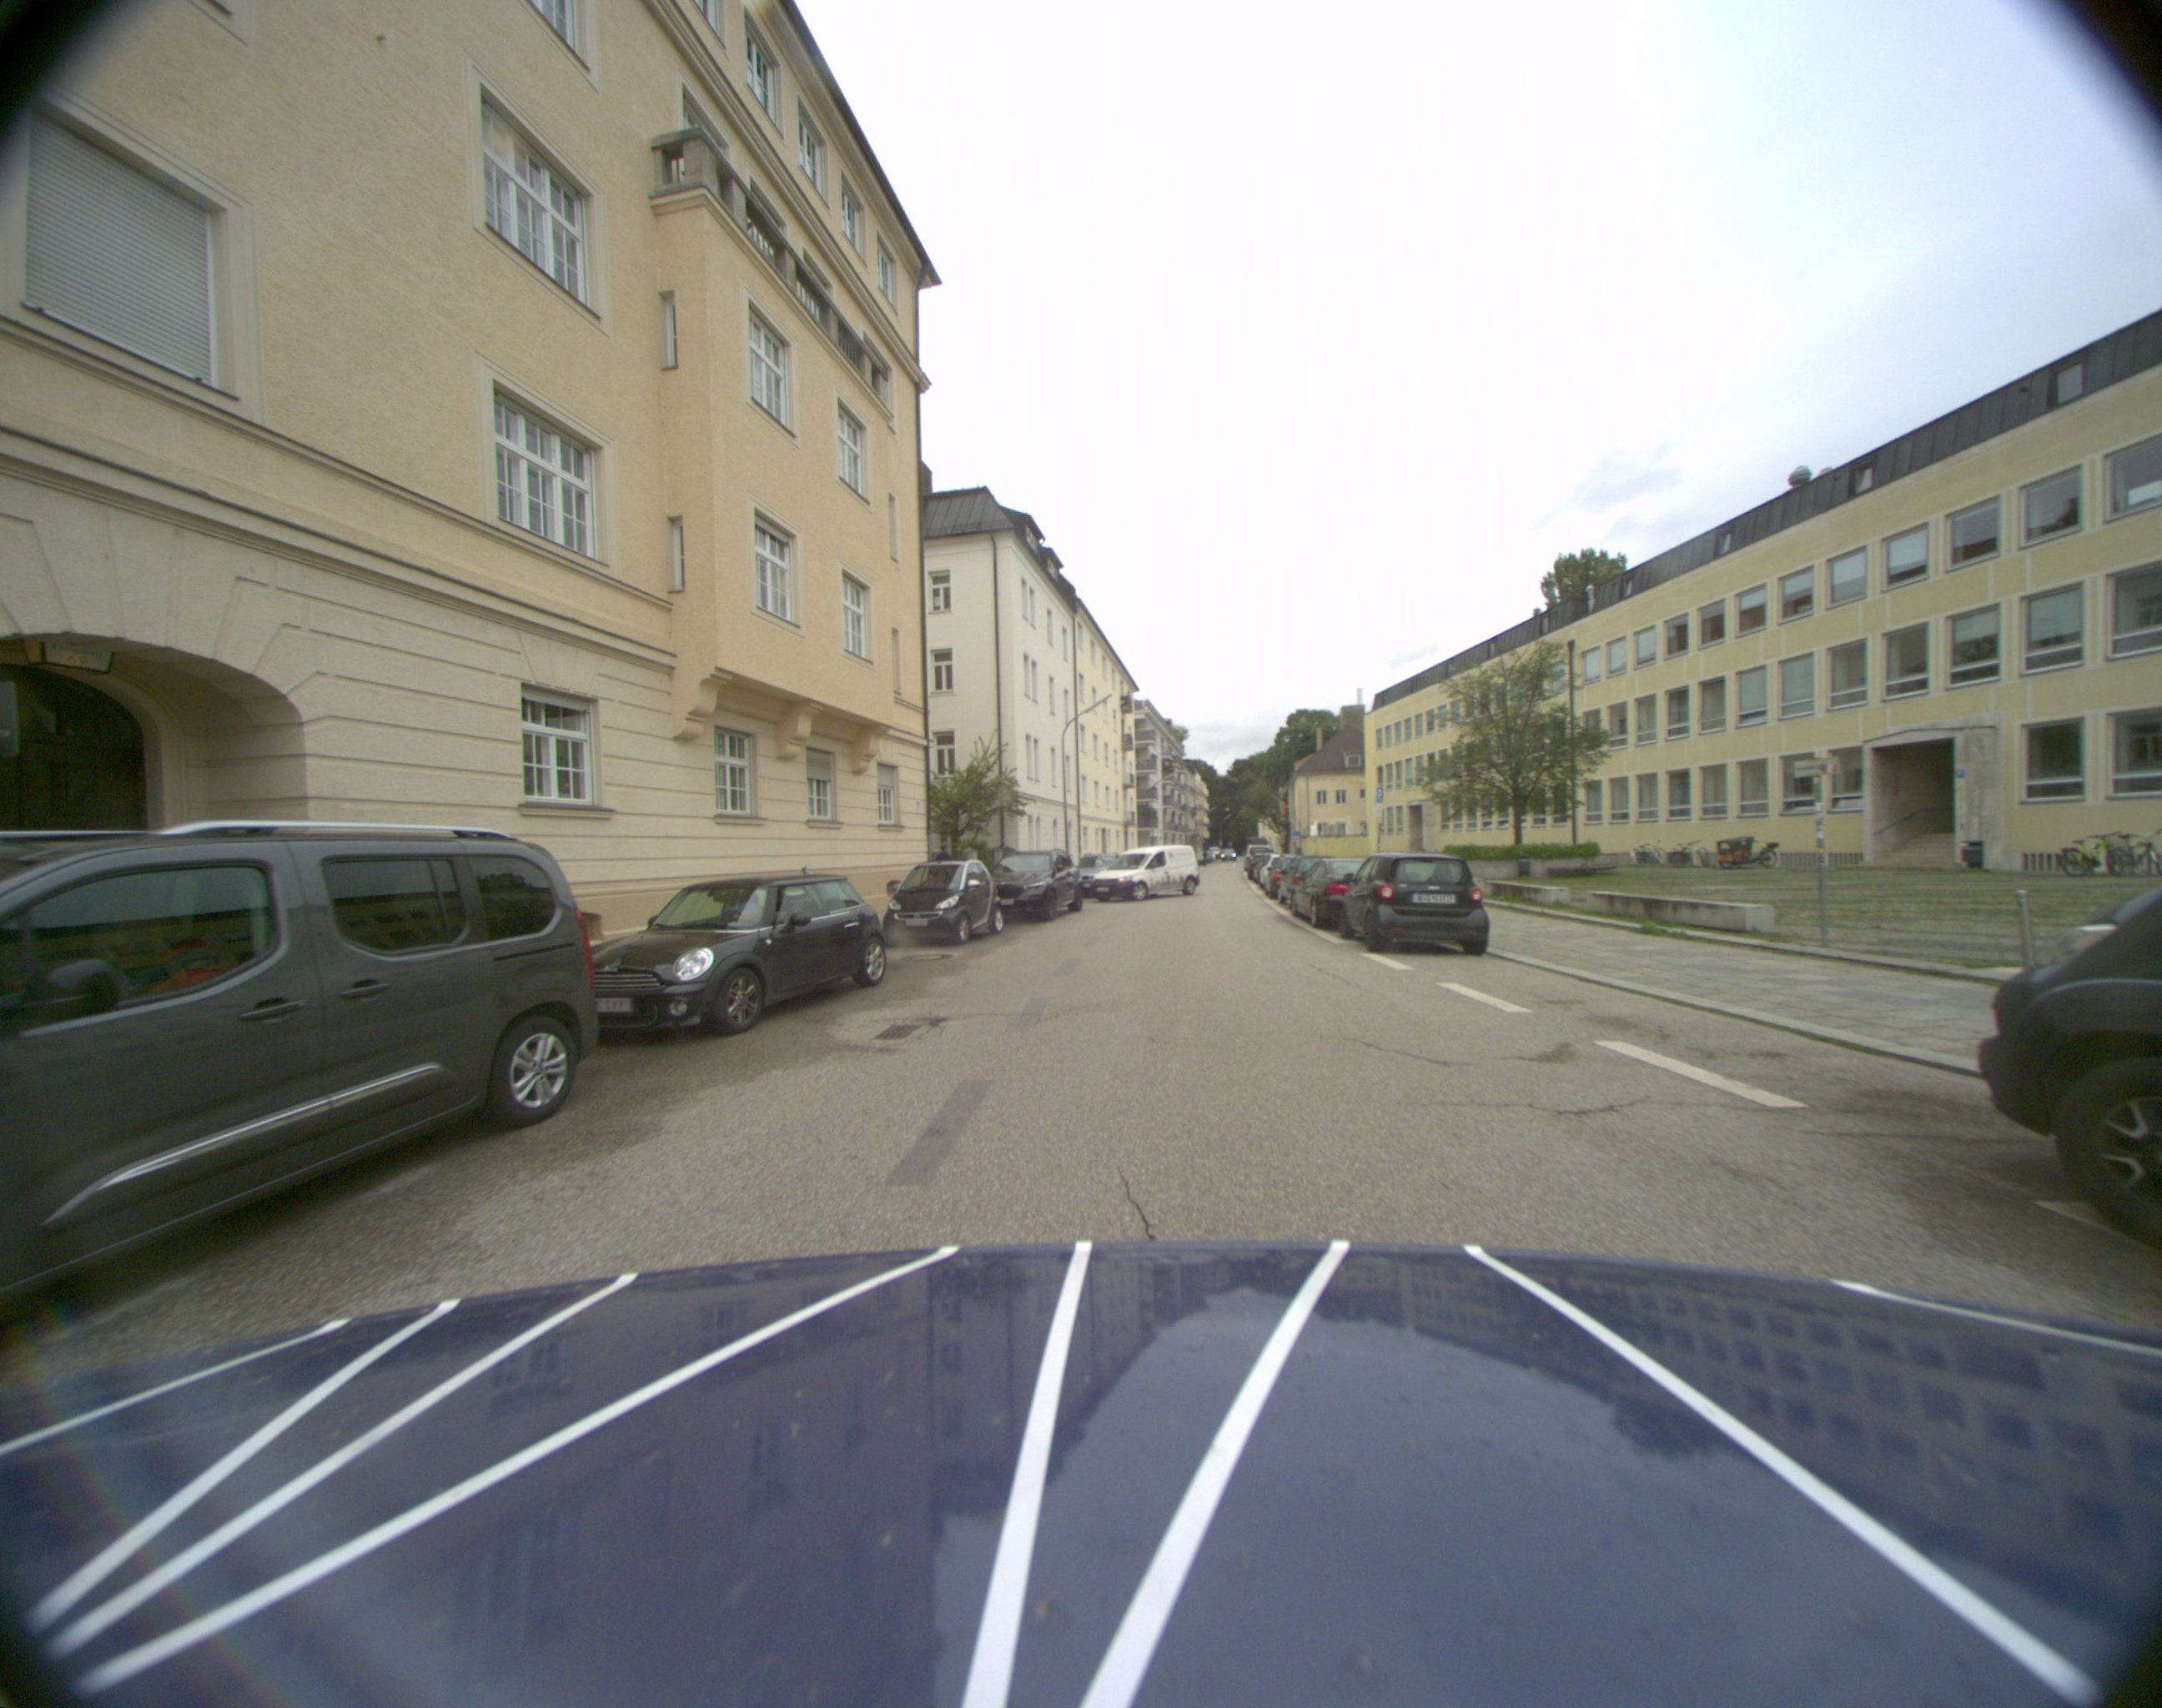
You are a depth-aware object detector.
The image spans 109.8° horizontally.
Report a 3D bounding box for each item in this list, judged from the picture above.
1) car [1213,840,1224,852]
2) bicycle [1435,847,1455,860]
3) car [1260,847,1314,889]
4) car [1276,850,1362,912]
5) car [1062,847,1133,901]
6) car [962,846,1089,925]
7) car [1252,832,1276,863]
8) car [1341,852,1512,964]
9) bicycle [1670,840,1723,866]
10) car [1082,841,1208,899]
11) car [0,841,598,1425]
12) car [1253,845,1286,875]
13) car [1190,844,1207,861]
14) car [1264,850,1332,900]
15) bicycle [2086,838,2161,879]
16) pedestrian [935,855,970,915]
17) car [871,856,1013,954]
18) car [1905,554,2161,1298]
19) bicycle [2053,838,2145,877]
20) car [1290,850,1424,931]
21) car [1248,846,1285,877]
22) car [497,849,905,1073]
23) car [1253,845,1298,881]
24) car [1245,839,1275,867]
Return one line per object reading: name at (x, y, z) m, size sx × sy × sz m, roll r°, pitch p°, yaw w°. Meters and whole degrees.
car at (22.315, -1.304, 123.211) m, size 1.637 × 1.726 × 3.883 m, roll -3°, pitch 1°, yaw 12°
bicycle at (25.818, -0.041, 53.933) m, size 1.243 × 0.897 × 0.288 m, roll -3°, pitch 1°, yaw -3°
car at (8.332, 0.521, 30.979) m, size 1.724 × 1.521 × 4.002 m, roll 0°, pitch 1°, yaw 9°
car at (6.400, 0.666, 20.795) m, size 1.724 × 1.473 × 3.756 m, roll 0°, pitch 1°, yaw 9°
car at (0.714, 0.694, 28.540) m, size 1.780 × 1.720 × 4.393 m, roll -3°, pitch 1°, yaw 12°
car at (-1.267, 0.737, 19.651) m, size 1.931 × 1.719 × 4.692 m, roll -3°, pitch -1°, yaw 12°
car at (16.703, -0.646, 69.373) m, size 1.996 × 2.702 × 4.963 m, roll 0°, pitch 2°, yaw 12°
car at (5.290, 0.744, 12.010) m, size 1.670 × 1.451 × 2.869 m, roll 1°, pitch 2°, yaw 8°
bicycle at (26.421, -0.048, 32.638) m, size 1.836 × 1.023 × 0.575 m, roll -3°, pitch 1°, yaw -4°
car at (2.332, 0.471, 26.313) m, size 1.880 × 1.762 × 4.934 m, roll 1°, pitch 2°, yaw 39°
car at (-4.250, 0.899, 2.900) m, size 1.841 × 1.788 × 4.238 m, roll -3°, pitch 1°, yaw 3°
car at (11.598, 0.329, 46.914) m, size 1.743 × 1.679 × 4.125 m, roll 0°, pitch 2°, yaw 11°
car at (13.613, -0.162, 87.610) m, size 1.637 × 1.726 × 3.883 m, roll -3°, pitch 1°, yaw 12°
car at (7.225, 0.637, 25.658) m, size 1.724 × 1.473 × 4.207 m, roll 0°, pitch 1°, yaw 9°
bicycle at (26.448, 0.104, 19.096) m, size 1.906 × 0.911 × 0.437 m, roll -3°, pitch 1°, yaw -3°
pedestrian at (-3.899, 0.942, 23.064) m, size 0.683 × 1.750 × 0.694 m, roll -2°, pitch 2°, yaw 43°
car at (-2.529, 0.902, 14.472) m, size 1.510 × 1.548 × 2.865 m, roll -3°, pitch 1°, yaw 14°
car at (4.841, 0.276, 0.309) m, size 2.149 × 2.559 × 6.209 m, roll 0°, pitch 1°, yaw -1°
bicycle at (26.410, 0.087, 19.722) m, size 1.906 × 0.911 × 0.437 m, roll -3°, pitch 1°, yaw -3°
car at (5.619, 0.658, 16.002) m, size 1.724 × 1.356 × 4.214 m, roll 1°, pitch 2°, yaw 7°
car at (10.062, 0.369, 41.422) m, size 1.743 × 1.459 × 3.688 m, roll -3°, pitch 1°, yaw 11°
car at (-3.596, 0.895, 8.083) m, size 1.839 × 1.720 × 3.733 m, roll -3°, pitch 1°, yaw 12°
car at (9.437, 0.379, 37.042) m, size 1.743 × 1.536 × 4.085 m, roll -3°, pitch 1°, yaw 10°
car at (13.263, -0.099, 56.532) m, size 1.947 × 1.965 × 4.357 m, roll 0°, pitch 2°, yaw 10°
